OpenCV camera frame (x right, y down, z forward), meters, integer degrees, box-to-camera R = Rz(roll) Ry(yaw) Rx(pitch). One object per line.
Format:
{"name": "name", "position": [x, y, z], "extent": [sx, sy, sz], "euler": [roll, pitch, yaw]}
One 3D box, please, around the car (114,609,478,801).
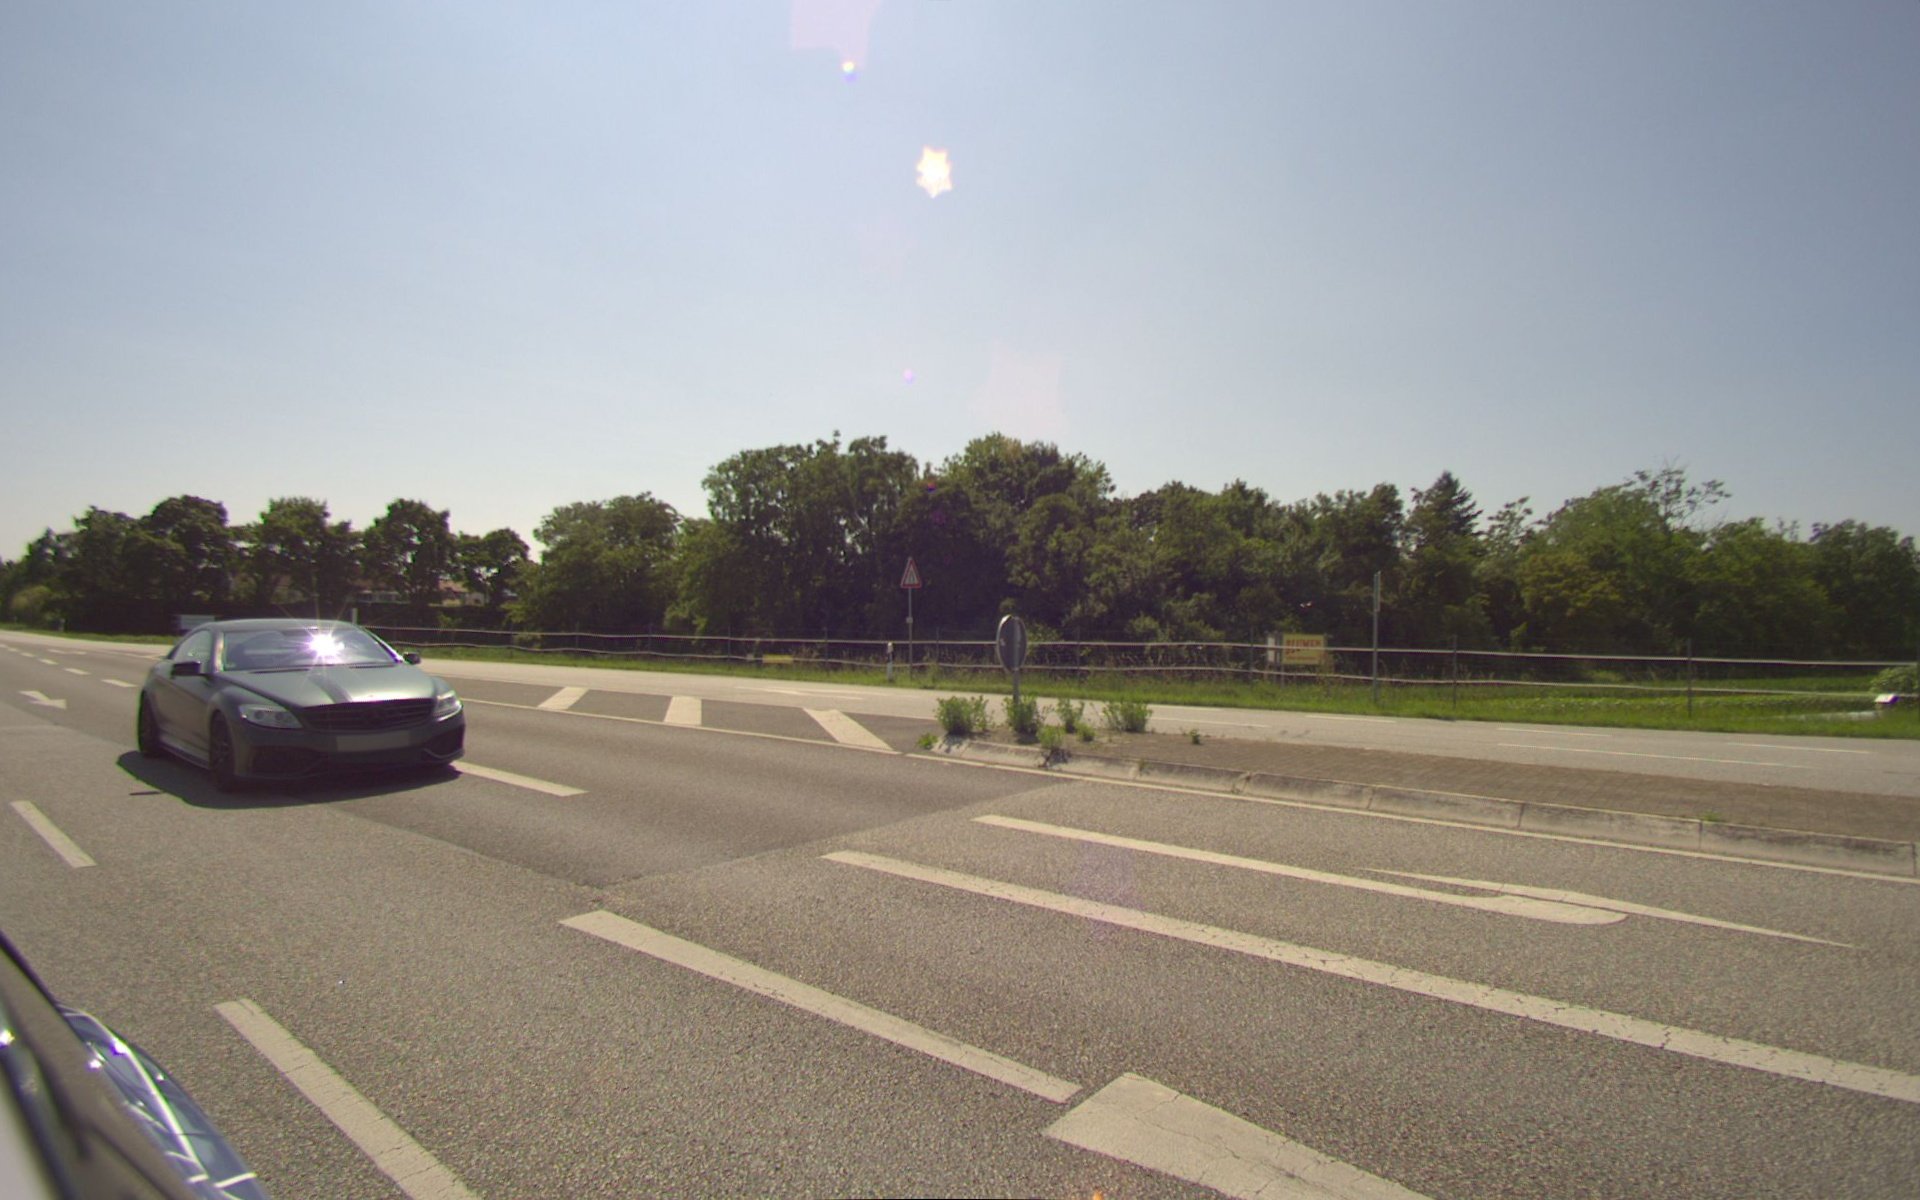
{"name": "car", "position": [-6.743, 0.834, 10.028], "extent": [4.874, 1.461, 1.792], "euler": [-1, -1, 41]}
